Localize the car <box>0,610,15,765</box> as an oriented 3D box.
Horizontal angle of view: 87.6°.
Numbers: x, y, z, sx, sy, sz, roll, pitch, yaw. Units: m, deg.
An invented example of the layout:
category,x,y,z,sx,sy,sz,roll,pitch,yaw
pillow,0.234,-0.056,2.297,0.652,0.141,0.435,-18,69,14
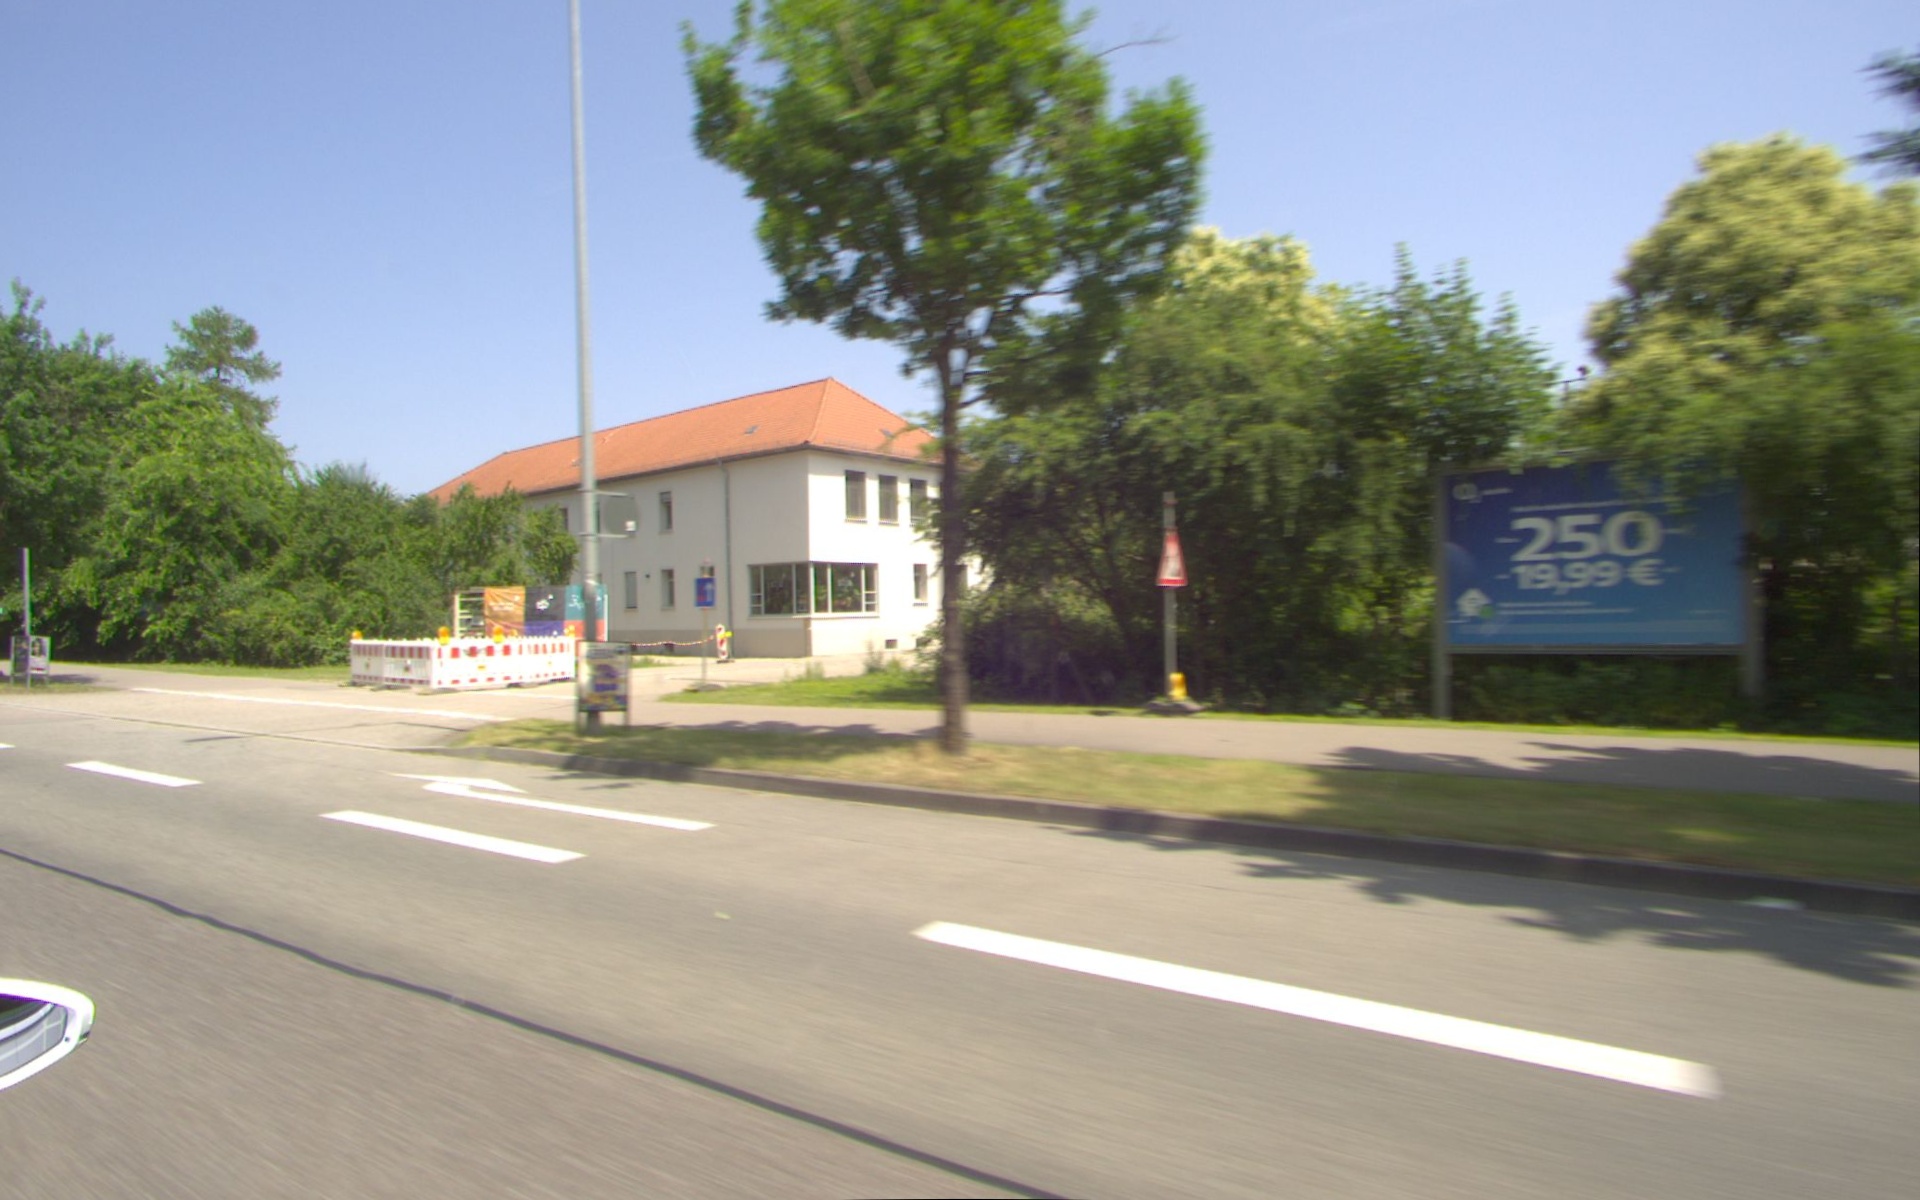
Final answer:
category,x,y,z,sx,sy,sz,roll,pitch,yaw
car,-12.113,0.925,10.929,3.836,1.632,1.789,-1,-1,33
